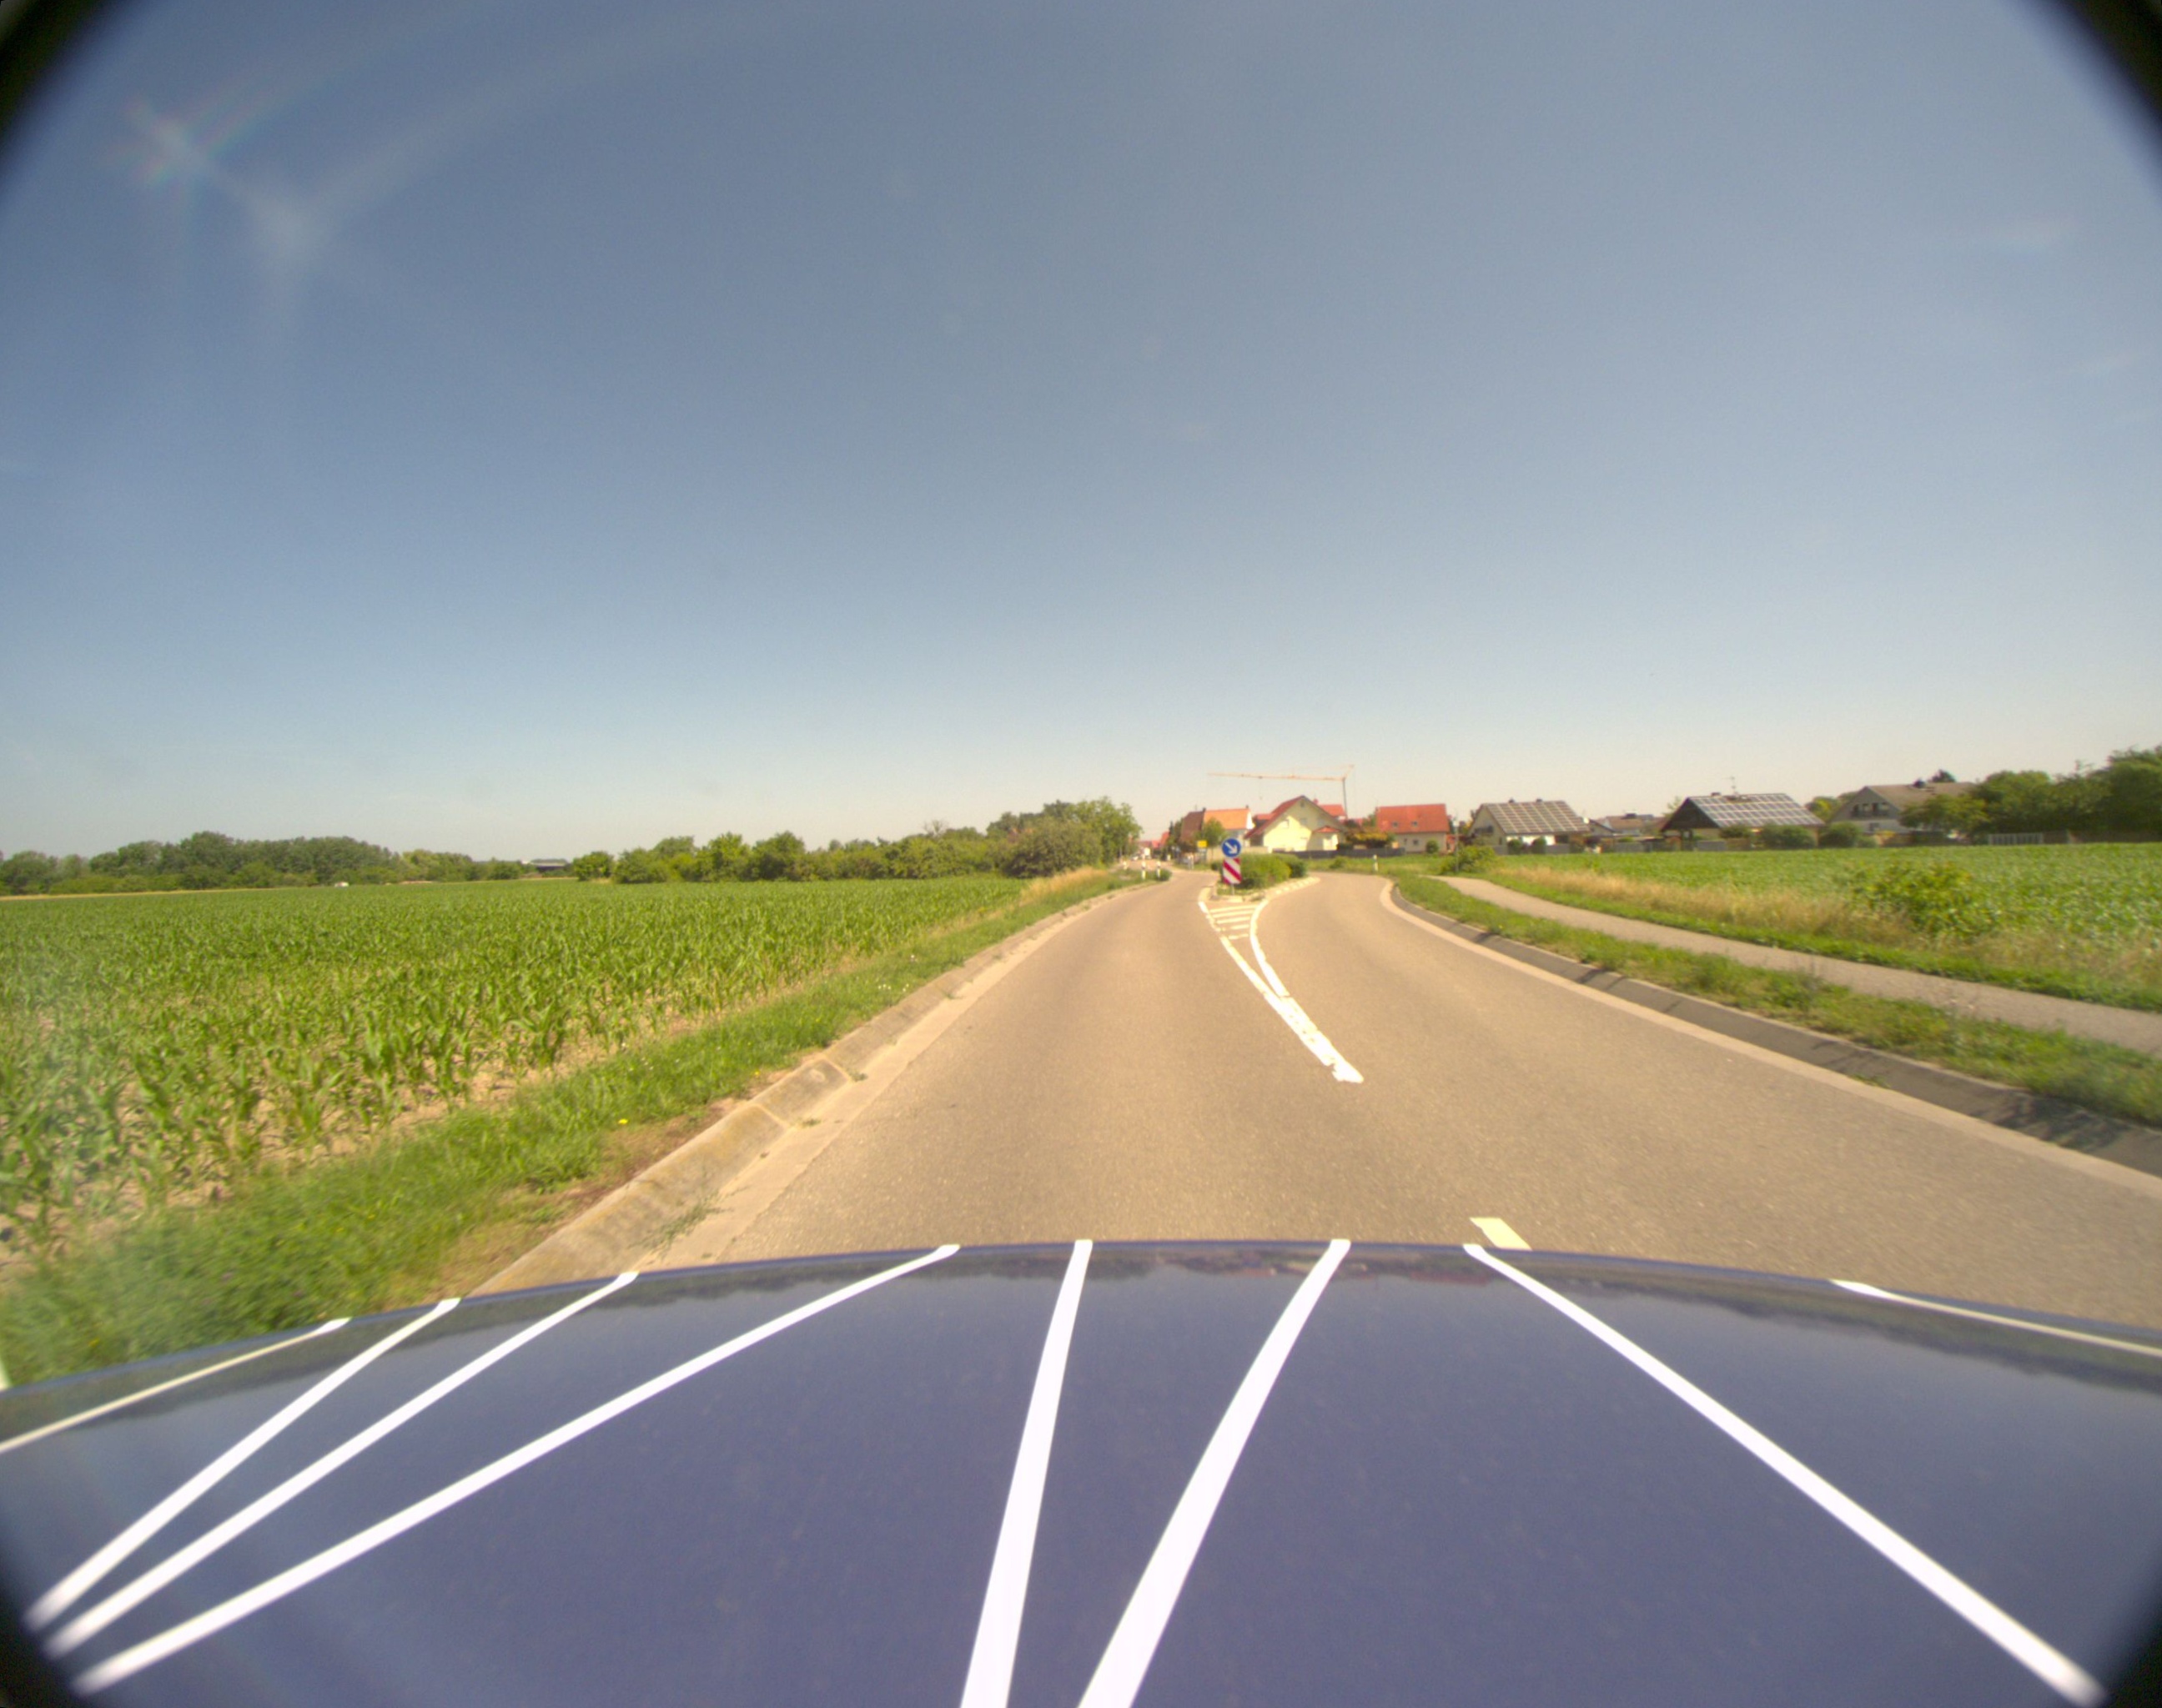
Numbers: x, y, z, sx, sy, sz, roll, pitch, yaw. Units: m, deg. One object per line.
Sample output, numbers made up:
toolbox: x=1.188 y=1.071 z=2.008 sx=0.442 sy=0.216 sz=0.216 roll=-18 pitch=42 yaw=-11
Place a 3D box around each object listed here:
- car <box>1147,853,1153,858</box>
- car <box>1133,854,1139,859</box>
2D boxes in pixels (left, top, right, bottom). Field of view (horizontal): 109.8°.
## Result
car: x=21.781 y=0.422 z=238.689 sx=1.732 sy=1.379 sz=3.533 roll=-2 pitch=0 yaw=5
car: x=15.841 y=0.607 z=218.507 sx=1.732 sy=1.379 sz=3.533 roll=-2 pitch=0 yaw=5
